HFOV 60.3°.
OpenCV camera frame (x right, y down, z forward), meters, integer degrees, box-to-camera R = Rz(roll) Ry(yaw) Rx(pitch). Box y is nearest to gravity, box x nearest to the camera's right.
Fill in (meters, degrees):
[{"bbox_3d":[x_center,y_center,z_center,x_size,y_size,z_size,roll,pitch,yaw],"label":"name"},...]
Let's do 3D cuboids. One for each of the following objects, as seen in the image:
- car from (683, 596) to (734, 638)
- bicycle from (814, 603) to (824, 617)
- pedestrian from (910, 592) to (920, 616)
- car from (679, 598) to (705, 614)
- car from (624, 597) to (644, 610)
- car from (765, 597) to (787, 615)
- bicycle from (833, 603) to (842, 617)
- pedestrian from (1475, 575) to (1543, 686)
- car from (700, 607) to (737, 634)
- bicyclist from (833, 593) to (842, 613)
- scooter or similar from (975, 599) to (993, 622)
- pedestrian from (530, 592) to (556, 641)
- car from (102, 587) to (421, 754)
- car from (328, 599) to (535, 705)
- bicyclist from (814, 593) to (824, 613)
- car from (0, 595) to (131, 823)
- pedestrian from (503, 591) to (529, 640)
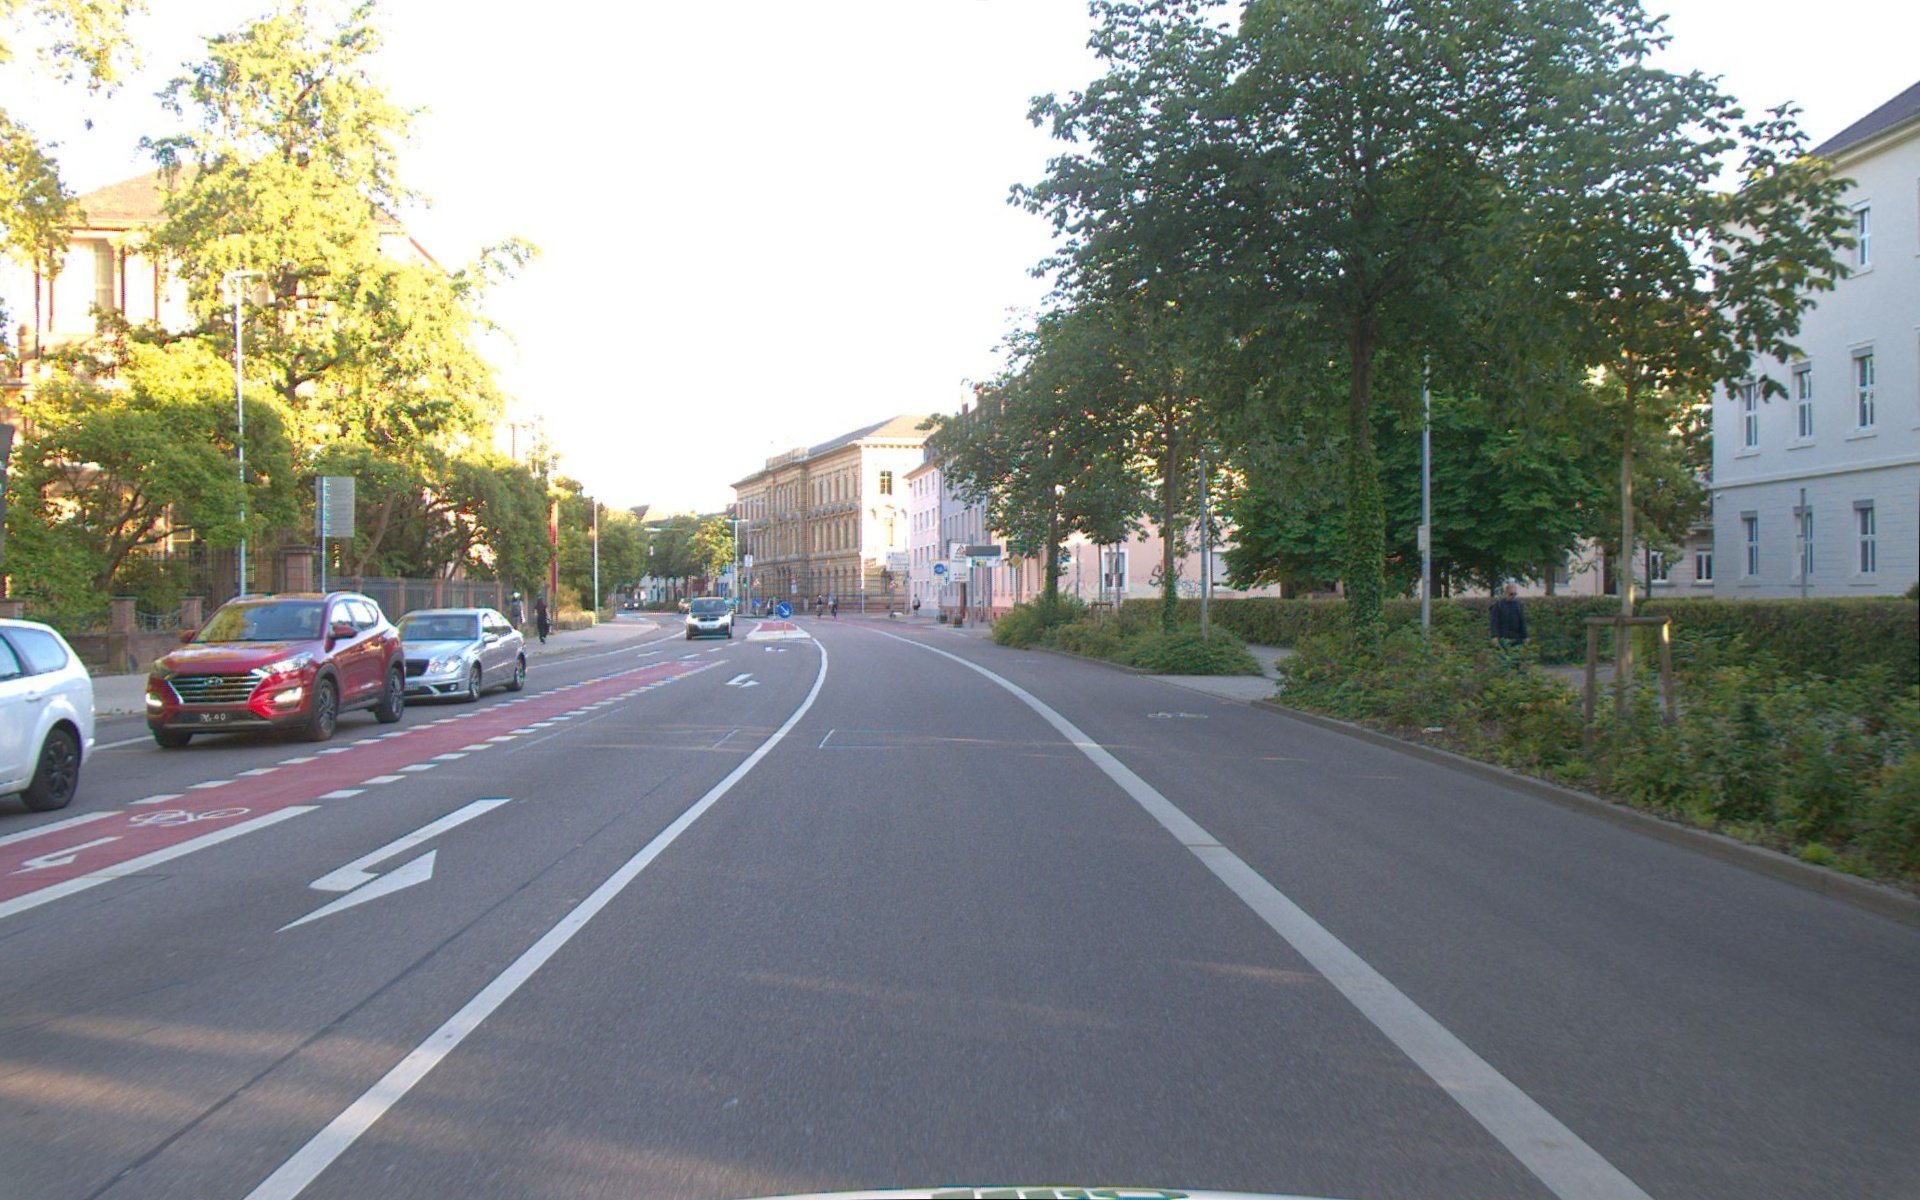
[{"bbox_3d":[-9.875,0.631,64.793,1.815,1.553,3.989,-2,0,-11],"label":"car"},{"bbox_3d":[-10.883,0.798,127.221,0.639,1.033,2.194,2,0,-7],"label":"bicycle"},{"bbox_3d":[-3.441,0.313,127.627,0.746,1.785,0.844,0,0,-1],"label":"pedestrian"},{"bbox_3d":[-26.958,0.618,166.017,1.963,1.613,3.978,0,0,-19],"label":"car"},{"bbox_3d":[-42.485,0.470,215.477,1.954,1.613,3.997,0,0,-3],"label":"car"},{"bbox_3d":[-16.109,0.537,145.018,1.832,1.536,3.994,1,0,-6],"label":"car"},{"bbox_3d":[-9.461,0.754,127.350,0.639,1.033,2.195,2,0,-5],"label":"bicycle"},{"bbox_3d":[8.857,0.484,26.716,0.755,1.769,0.806,0,0,-8],"label":"pedestrian"},{"bbox_3d":[-13.892,1.170,94.969,1.804,1.464,3.987,-2,0,-13],"label":"car"},{"bbox_3d":[-9.448,0.213,127.356,0.639,1.501,0.939,2,0,-6],"label":"bicyclist"},{"bbox_3d":[1.435,0.625,99.663,0.618,1.360,2.393,0,0,-11],"label":"scooter or similar"},{"bbox_3d":[-14.243,0.571,56.508,0.666,1.650,0.689,0,0,5],"label":"pedestrian"},{"bbox_3d":[-7.989,0.720,19.468,1.878,1.653,4.637,-2,0,-2],"label":"car"},{"bbox_3d":[-8.249,0.749,26.298,1.878,1.442,4.768,-2,0,-2],"label":"car"},{"bbox_3d":[-10.858,0.236,127.200,0.639,1.471,0.878,2,0,-8],"label":"bicyclist"},{"bbox_3d":[-7.733,0.812,11.301,1.878,1.611,4.672,-2,0,-2],"label":"car"},{"bbox_3d":[-15.127,0.537,56.405,0.666,1.650,0.688,0,0,2],"label":"pedestrian"}]
